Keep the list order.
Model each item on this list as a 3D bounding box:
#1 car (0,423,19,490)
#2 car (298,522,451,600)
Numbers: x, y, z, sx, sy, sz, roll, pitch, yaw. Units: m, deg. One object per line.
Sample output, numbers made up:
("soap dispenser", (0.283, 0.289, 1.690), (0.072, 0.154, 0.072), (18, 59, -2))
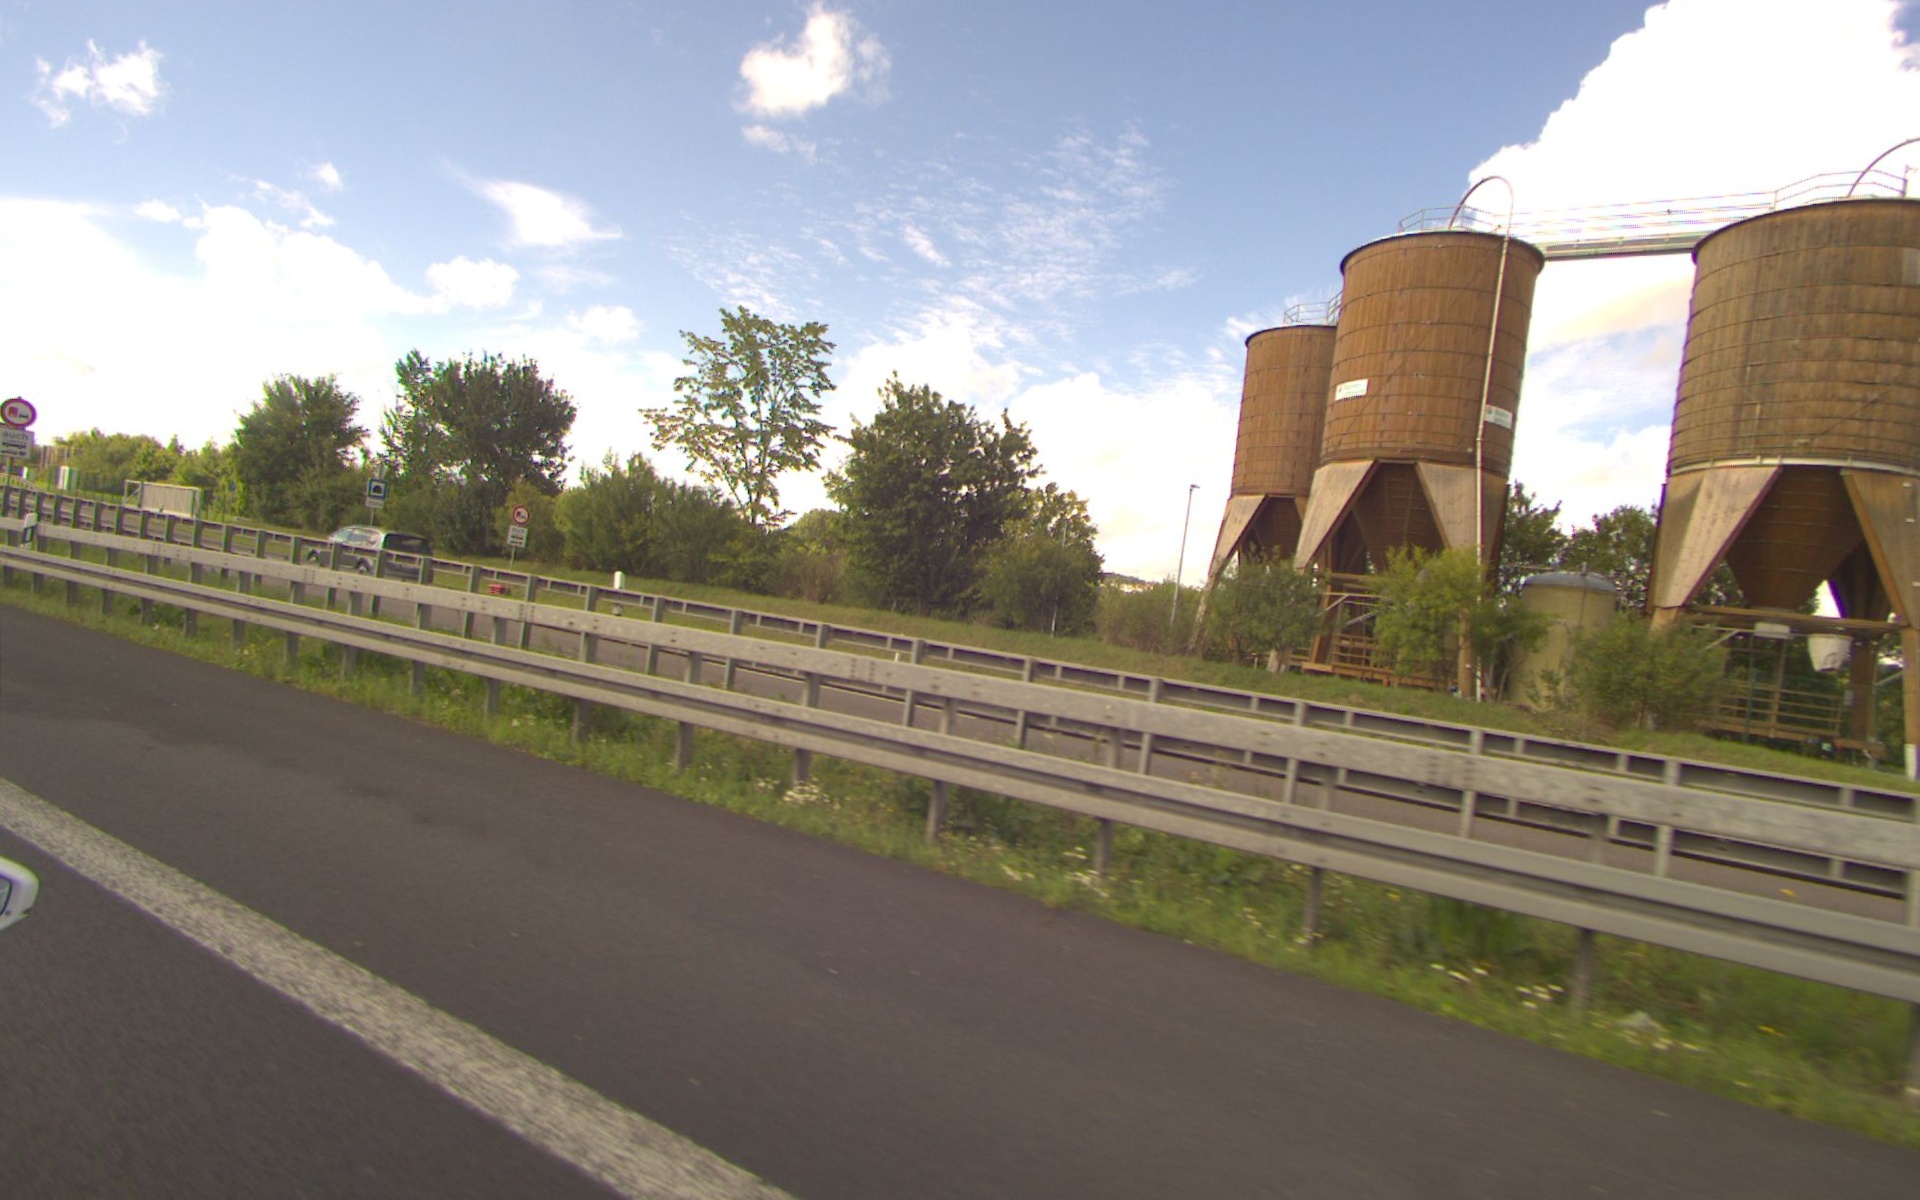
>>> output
("car", (-59.078, -8.747, 59.304), (7.428, 3.723, 3.577), (7, 1, 34))
("car", (-16.587, -1.101, 28.486), (3.933, 1.739, 1.995), (7, 1, 31))
